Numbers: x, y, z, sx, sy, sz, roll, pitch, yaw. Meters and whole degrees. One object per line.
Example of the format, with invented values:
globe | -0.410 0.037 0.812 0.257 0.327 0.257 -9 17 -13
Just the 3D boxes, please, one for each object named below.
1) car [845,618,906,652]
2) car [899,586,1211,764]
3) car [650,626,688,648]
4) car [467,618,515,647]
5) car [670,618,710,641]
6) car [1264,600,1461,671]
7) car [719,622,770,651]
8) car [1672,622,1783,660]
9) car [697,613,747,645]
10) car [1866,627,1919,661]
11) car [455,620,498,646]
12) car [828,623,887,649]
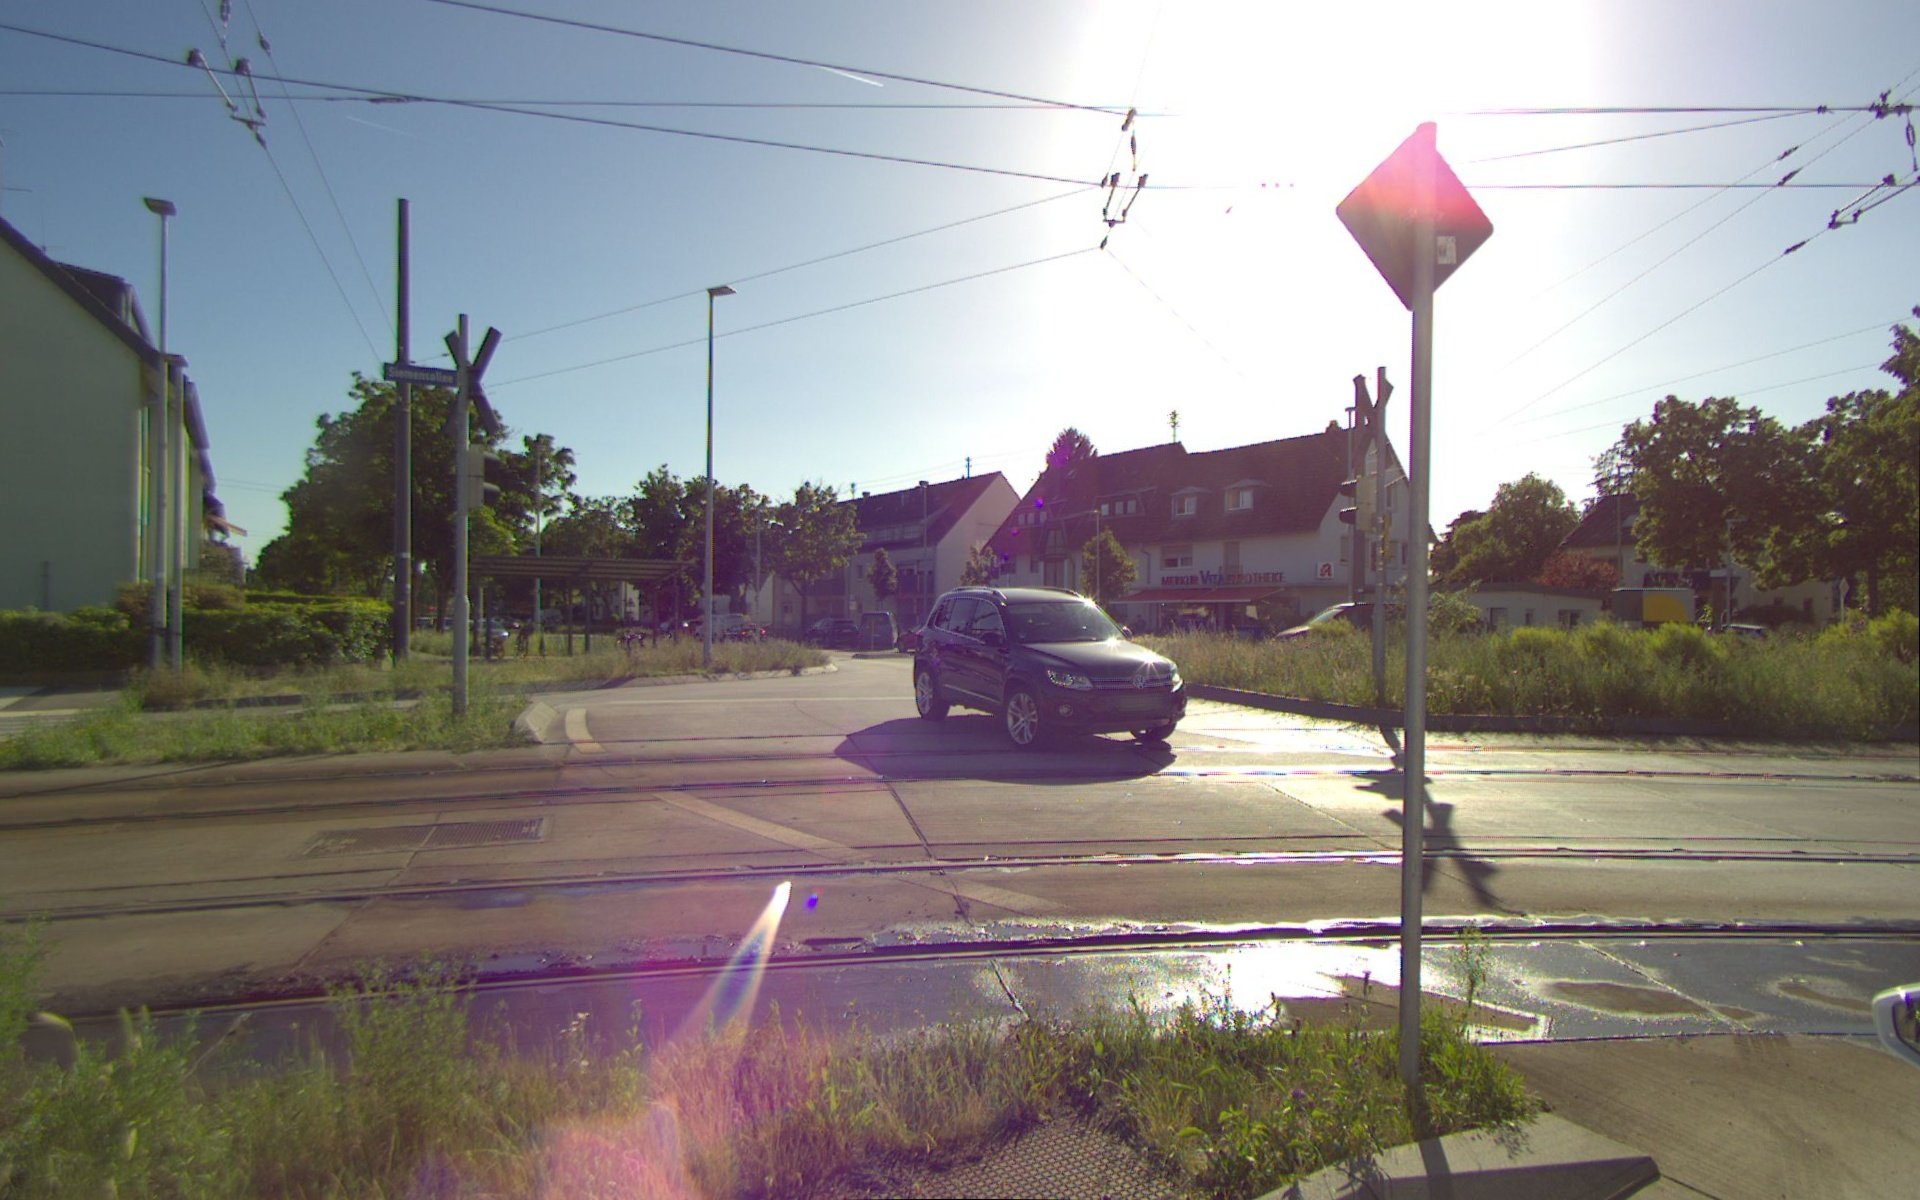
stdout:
car | -4.338 1.792 51.349 3.020 1.641 1.409 1 0 -6
car | 0.884 0.736 11.864 1.793 1.693 4.231 1 -1 -25
car | -22.719 2.861 78.401 1.537 1.699 4.177 1 -1 -36
car | -26.075 1.764 55.784 1.808 1.411 3.753 1 0 -35
car | -20.050 2.162 74.552 1.531 1.613 4.035 1 -1 -36
car | 12.037 1.058 30.191 5.139 2.008 1.999 0 -1 -6
car | -13.891 2.322 64.729 1.903 1.637 4.247 1 0 -31
car | 39.085 2.049 51.244 1.974 1.717 4.023 1 0 -26
car | -16.730 1.997 70.369 1.879 2.041 4.326 1 1 -36
car | 44.894 2.083 47.864 3.765 1.484 1.787 1 0 -36
car | -29.557 2.005 61.388 1.808 1.411 3.831 1 0 -35
car | -5.677 1.994 55.322 3.106 1.315 1.380 1 0 -11
